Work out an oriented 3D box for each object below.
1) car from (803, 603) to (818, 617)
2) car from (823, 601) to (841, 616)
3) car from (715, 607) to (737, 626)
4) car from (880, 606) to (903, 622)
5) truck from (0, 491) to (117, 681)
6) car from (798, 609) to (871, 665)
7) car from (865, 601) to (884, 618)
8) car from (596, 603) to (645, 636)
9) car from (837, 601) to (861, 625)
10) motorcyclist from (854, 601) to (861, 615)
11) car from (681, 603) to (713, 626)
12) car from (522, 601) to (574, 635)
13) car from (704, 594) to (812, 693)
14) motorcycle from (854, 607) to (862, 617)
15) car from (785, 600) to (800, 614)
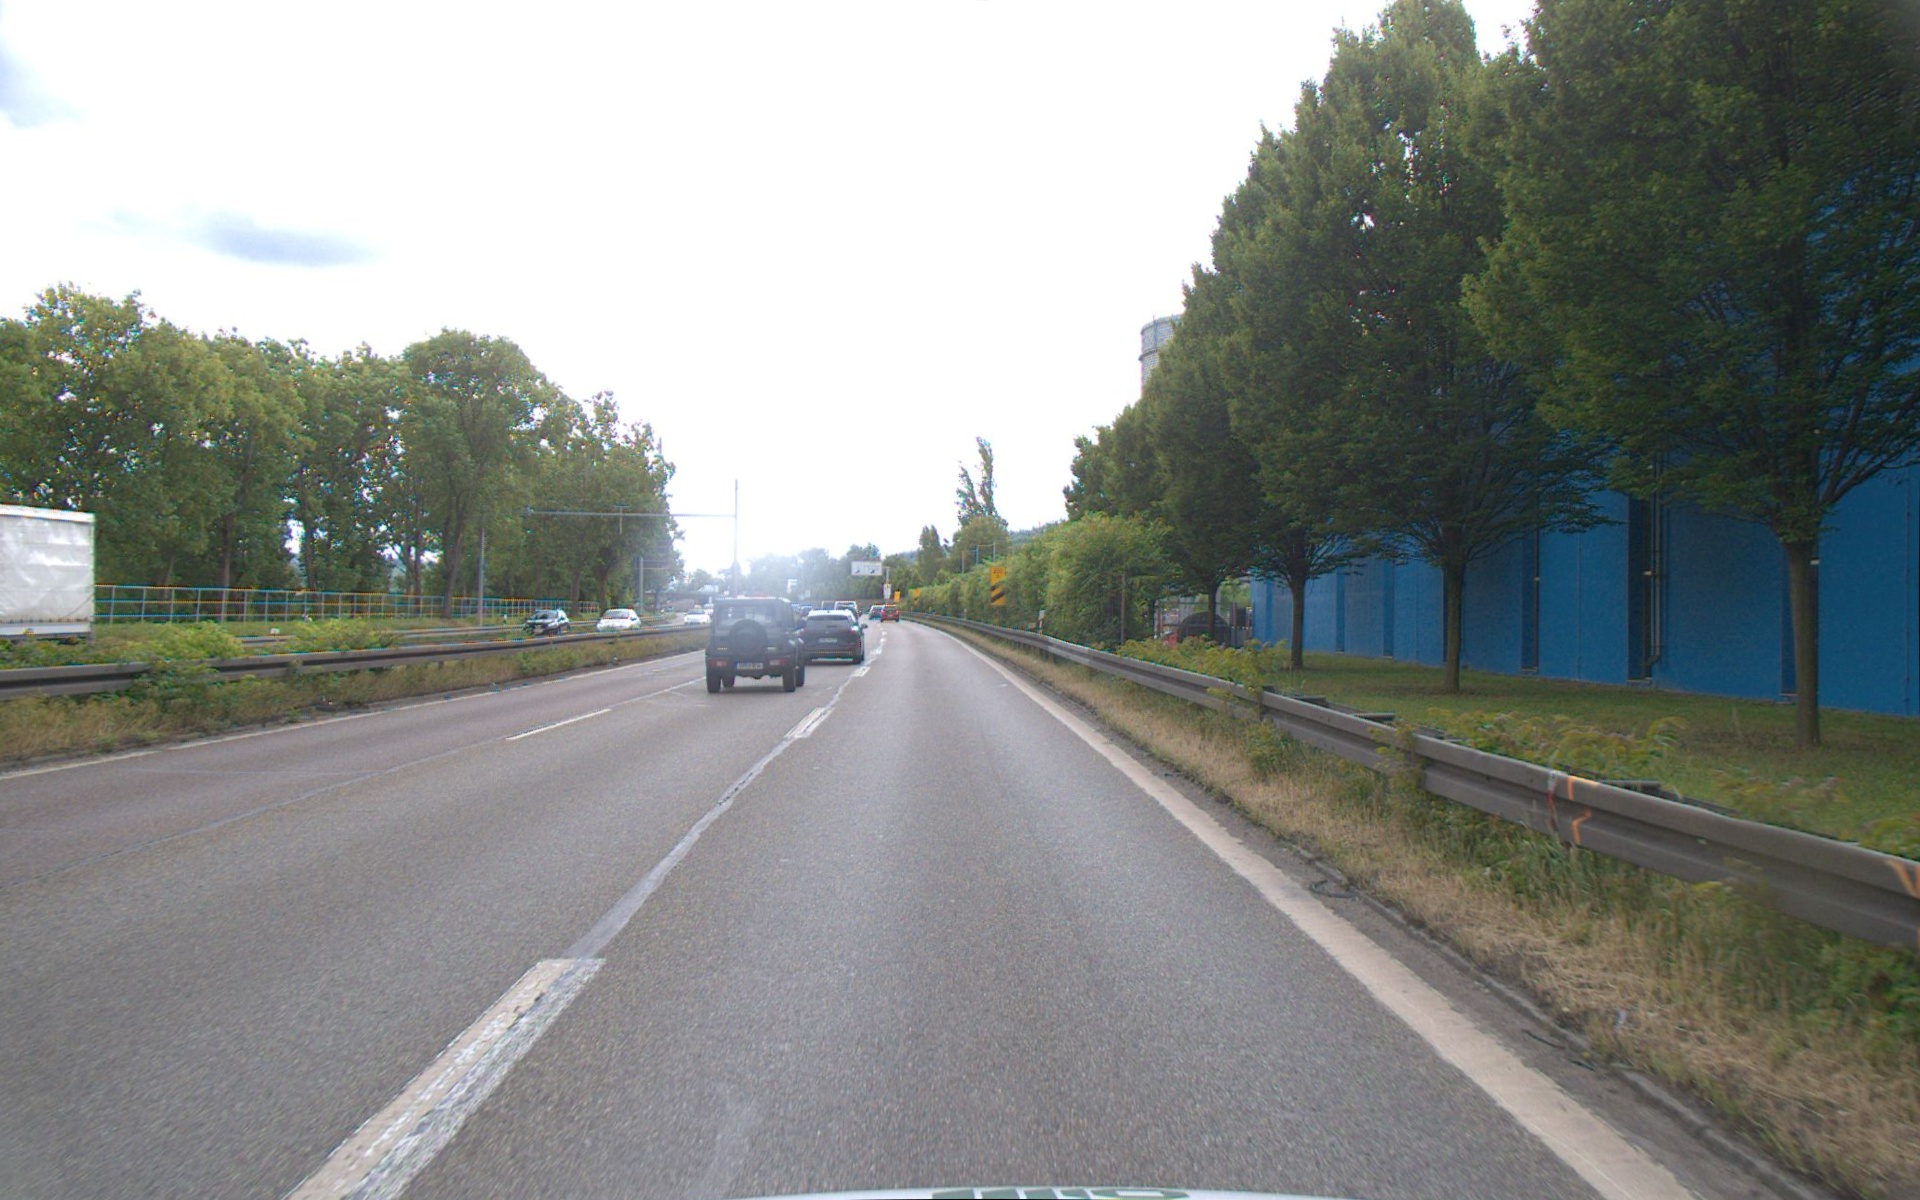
[{"bbox_3d":[-18.858,1.252,208.199,1.665,1.772,4.385,-1,0,-8],"label":"car"},{"bbox_3d":[-17.482,1.114,225.137,1.977,1.968,4.888,-1,0,-10],"label":"car"},{"bbox_3d":[-23.257,1.620,164.427,1.691,1.806,3.740,0,0,-2],"label":"car"},{"bbox_3d":[-6.306,1.284,152.382,1.935,1.448,4.896,-1,0,-4],"label":"car"},{"bbox_3d":[-19.816,-0.267,31.291,2.830,3.641,9.586,0,0,0],"label":"truck"},{"bbox_3d":[-3.431,0.983,45.825,1.808,1.448,4.898,1,0,-2],"label":"car"},{"bbox_3d":[-9.074,1.017,175.306,1.665,1.773,4.386,0,-1,-7],"label":"car"},{"bbox_3d":[-17.620,0.997,86.034,1.663,1.633,4.537,-2,0,-1],"label":"car"},{"bbox_3d":[-8.310,0.955,123.775,1.663,1.772,3.998,0,0,-2],"label":"car"},{"bbox_3d":[-13.196,0.995,213.313,0.776,1.791,0.921,1,0,-9],"label":"motorcyclist"},{"bbox_3d":[-20.479,1.136,128.895,1.829,1.704,4.716,-1,0,-2],"label":"car"},{"bbox_3d":[-21.134,0.888,84.915,1.691,1.633,4.041,-2,0,-1],"label":"car"},{"bbox_3d":[-3.744,0.762,31.245,1.663,1.715,3.998,-1,0,-2],"label":"car"},{"bbox_3d":[-13.208,1.603,213.349,0.776,1.240,2.325,1,0,-9],"label":"motorcycle"},{"bbox_3d":[-25.421,1.045,250.785,1.976,1.968,4.890,-1,0,-9],"label":"car"}]
